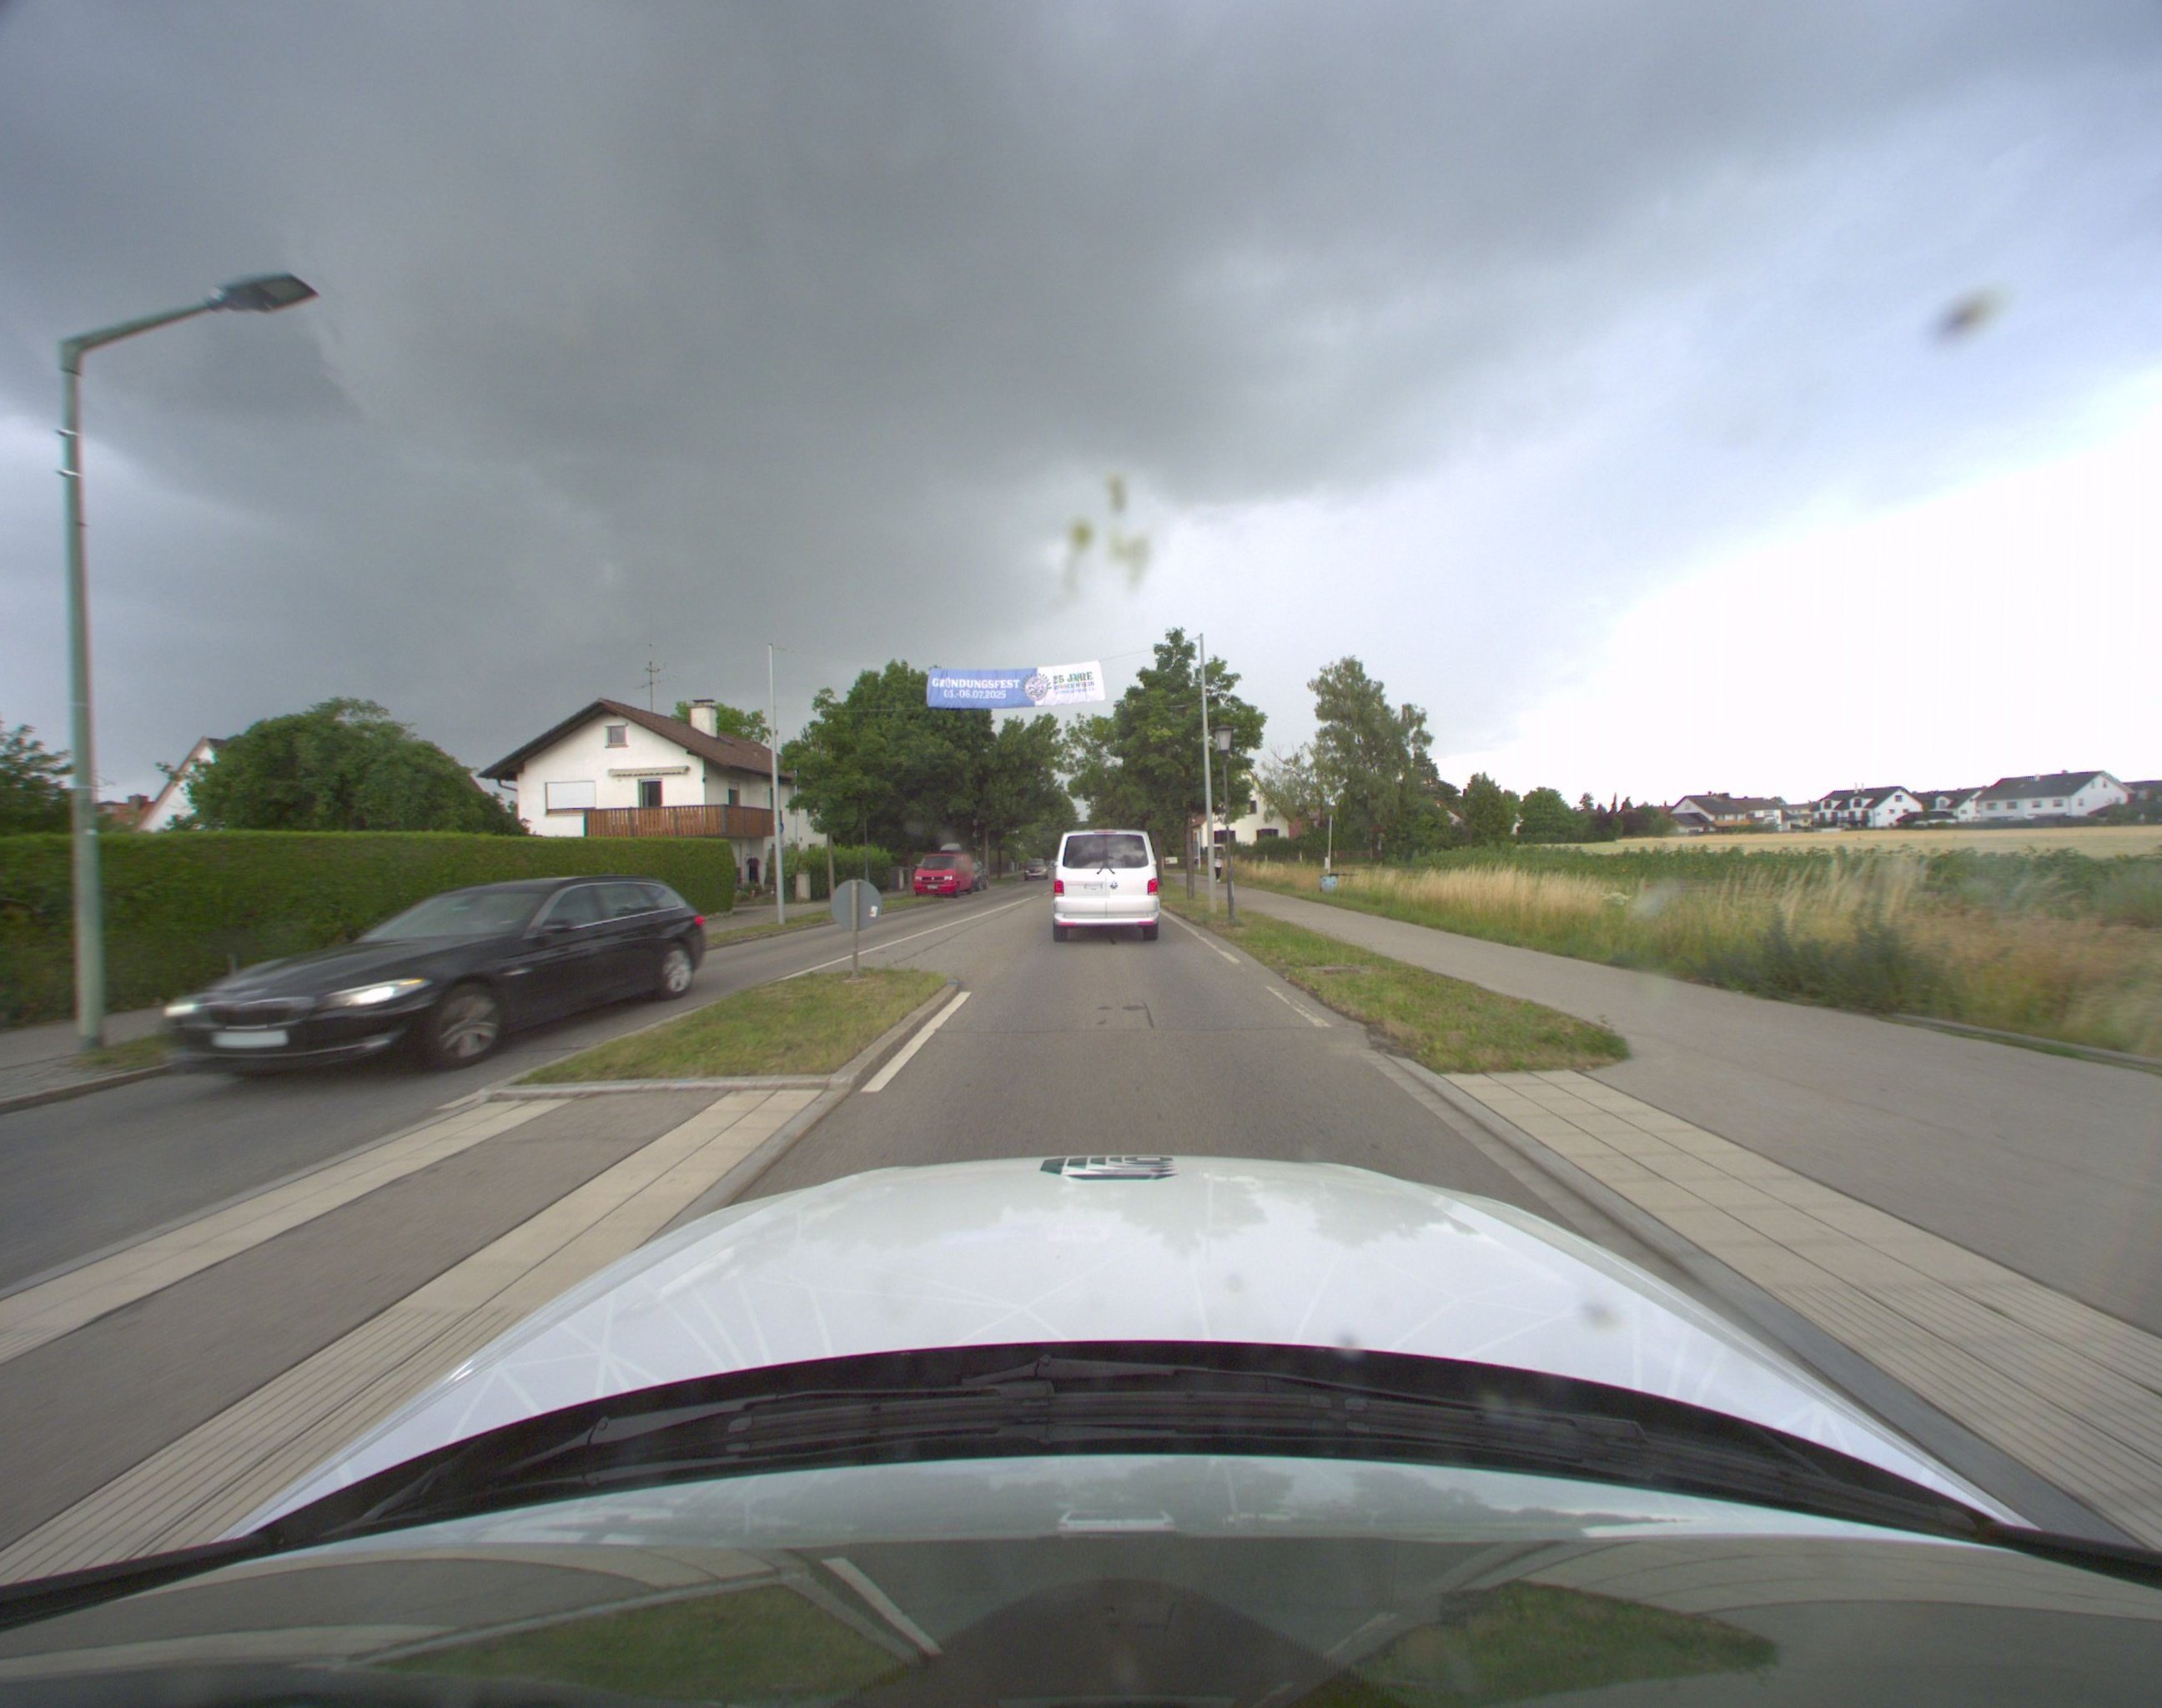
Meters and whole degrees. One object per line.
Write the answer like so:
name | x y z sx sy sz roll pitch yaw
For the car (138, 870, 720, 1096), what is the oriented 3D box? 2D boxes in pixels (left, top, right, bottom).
car | -5.650 0.964 8.041 1.912 1.453 4.500 -2 0 3

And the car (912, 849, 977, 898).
car | -5.966 0.807 36.190 1.823 2.030 5.048 0 0 2

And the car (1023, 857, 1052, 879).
car | -3.334 1.088 62.792 1.699 1.532 3.512 -3 0 4

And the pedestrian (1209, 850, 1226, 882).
pedestrian | 7.617 0.641 45.486 0.833 1.755 0.871 -1 -1 6

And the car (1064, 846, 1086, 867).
car | -0.575 0.255 79.945 1.986 2.014 4.000 0 -1 1

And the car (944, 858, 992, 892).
car | -5.801 1.057 42.116 1.765 1.598 4.239 -1 0 1

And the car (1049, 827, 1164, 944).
car | 0.442 0.533 15.557 1.881 1.912 4.000 -1 -1 1

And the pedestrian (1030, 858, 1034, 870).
pedestrian | -6.515 1.346 108.131 0.621 1.549 0.522 0 -1 -3
